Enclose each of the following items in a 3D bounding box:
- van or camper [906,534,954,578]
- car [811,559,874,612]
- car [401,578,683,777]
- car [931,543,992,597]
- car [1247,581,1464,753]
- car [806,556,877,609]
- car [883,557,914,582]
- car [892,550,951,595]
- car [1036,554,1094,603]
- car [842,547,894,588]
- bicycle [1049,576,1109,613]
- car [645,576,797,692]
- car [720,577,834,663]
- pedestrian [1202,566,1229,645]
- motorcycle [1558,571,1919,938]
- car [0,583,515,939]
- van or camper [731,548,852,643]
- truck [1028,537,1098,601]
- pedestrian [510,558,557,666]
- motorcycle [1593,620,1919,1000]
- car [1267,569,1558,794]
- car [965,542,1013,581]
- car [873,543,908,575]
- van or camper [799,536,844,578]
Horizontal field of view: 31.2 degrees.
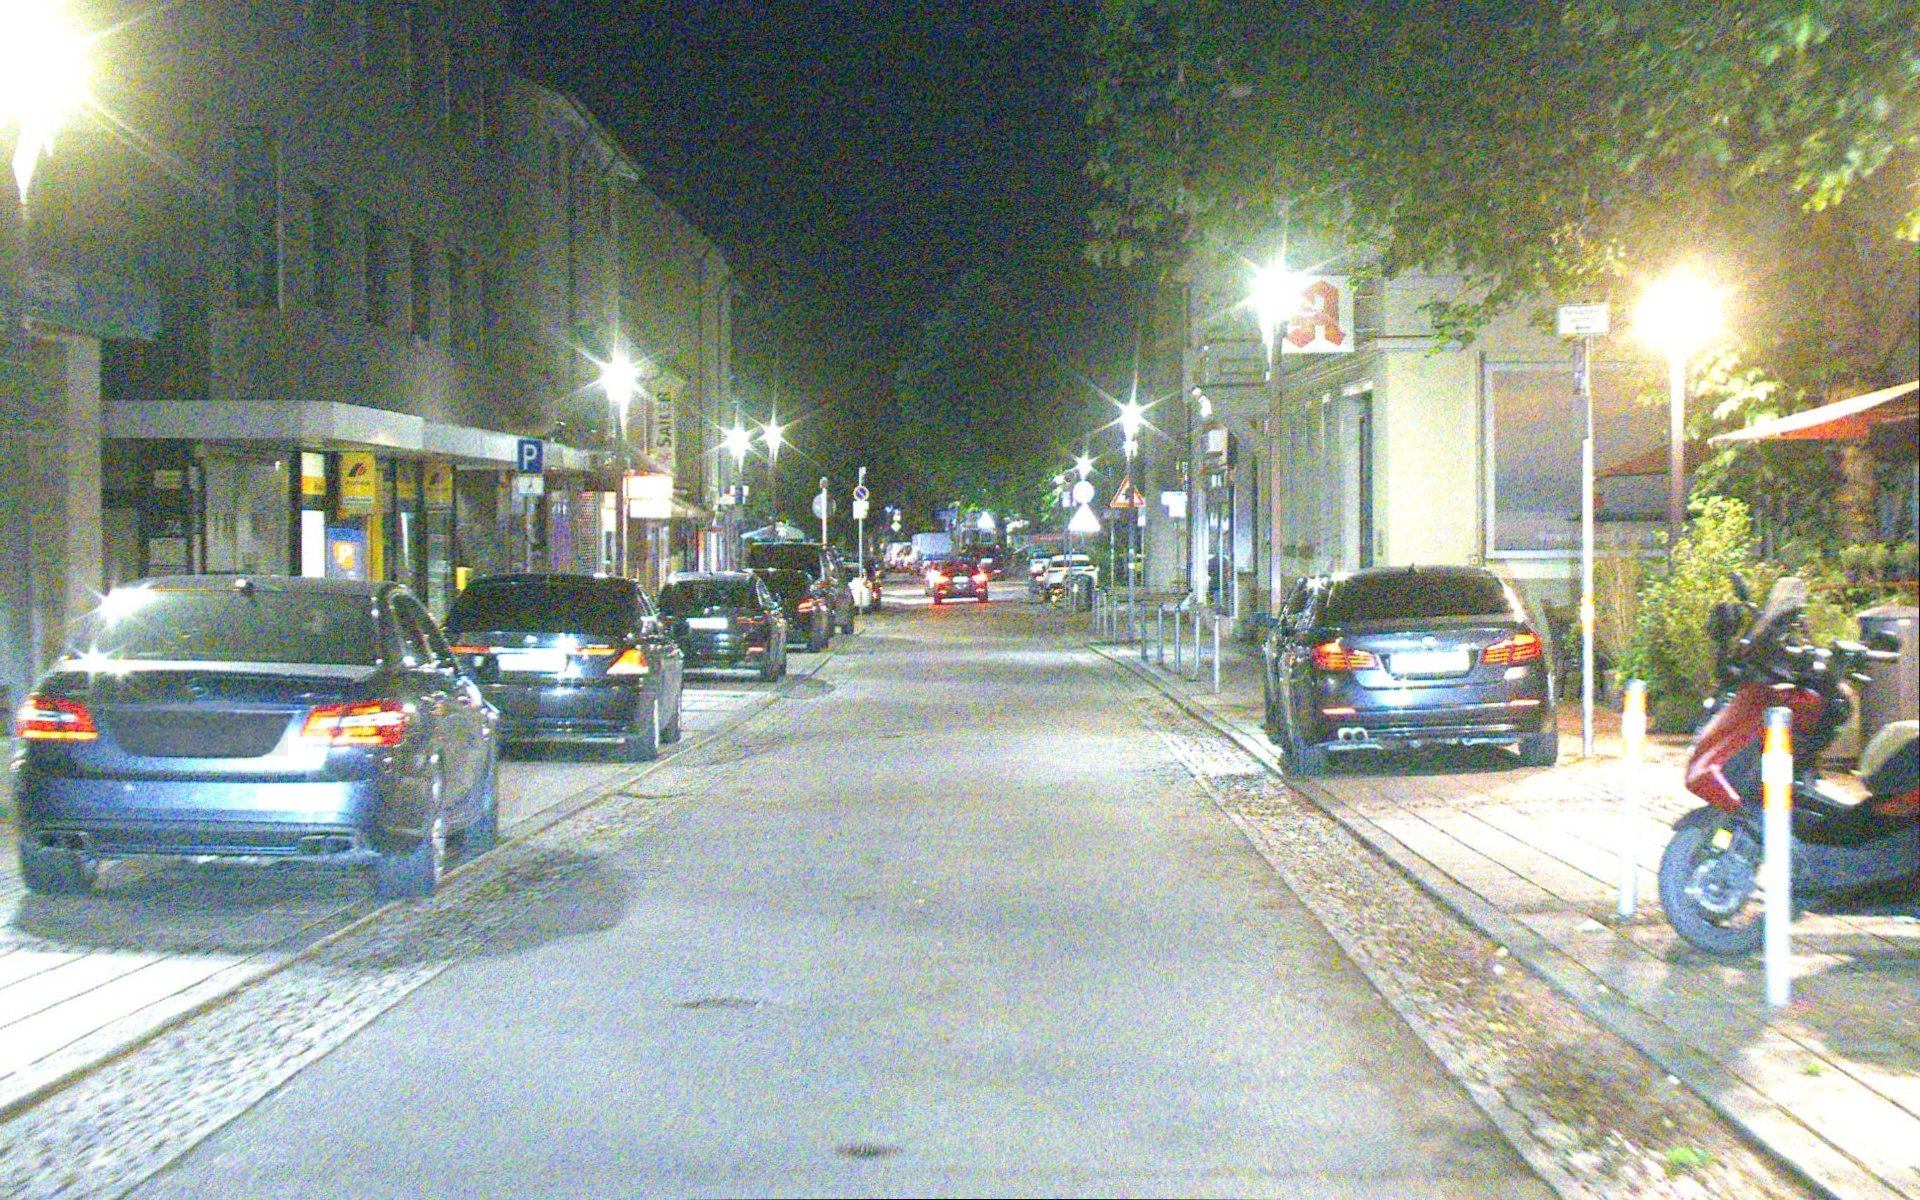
[{"bbox_3d":[-1.658,-2.451,189.779,2.108,2.309,4.263,-2,1,-7],"label":"van or camper"},{"bbox_3d":[-3.382,-0.429,99.238,1.728,1.472,3.847,1,1,-1],"label":"car"},{"bbox_3d":[-3.366,0.572,28.452,1.845,1.459,4.623,1,1,-1],"label":"car"},{"bbox_3d":[0.046,-1.037,117.120,1.993,1.817,4.000,0,1,-1],"label":"car"},{"bbox_3d":[3.505,0.554,31.043,1.661,1.373,4.103,-2,0,3],"label":"car"},{"bbox_3d":[-3.577,-0.556,104.561,2.019,1.483,5.008,2,1,-1],"label":"car"},{"bbox_3d":[-3.638,-1.794,202.769,1.531,1.413,3.846,-1,1,-5],"label":"car"},{"bbox_3d":[-1.522,-1.095,133.894,1.993,1.697,4.001,0,1,-5],"label":"car"},{"bbox_3d":[3.422,-0.709,112.472,1.789,1.486,4.059,-2,1,1],"label":"car"},{"bbox_3d":[-3.557,-1.254,132.702,1.673,1.538,4.231,0,1,-6],"label":"car"},{"bbox_3d":[3.514,-0.175,101.461,1.754,1.058,0.346,-1,1,-2],"label":"bicycle"},{"bbox_3d":[-3.176,0.427,46.411,1.797,1.473,4.321,1,0,-1],"label":"car"},{"bbox_3d":[-3.207,0.325,60.857,1.717,1.408,4.385,1,1,1],"label":"car"},{"bbox_3d":[5.016,0.111,67.507,0.501,1.542,0.480,1,0,6],"label":"pedestrian"},{"bbox_3d":[3.546,0.586,13.431,2.267,1.386,0.660,-1,0,25],"label":"motorcycle"},{"bbox_3d":[-3.311,0.663,16.684,1.899,1.465,4.525,0,1,-2],"label":"car"},{"bbox_3d":[-3.551,-0.128,73.156,1.846,1.935,5.153,1,1,5],"label":"van or camper"},{"bbox_3d":[3.807,-1.189,128.378,2.336,2.304,5.781,-1,1,-1],"label":"truck"},{"bbox_3d":[-6.959,0.193,56.102,0.621,1.739,1.023,0,1,0],"label":"pedestrian"},{"bbox_3d":[3.330,0.722,12.072,2.168,1.293,0.514,-1,0,38],"label":"motorcycle"},{"bbox_3d":[3.266,0.533,25.543,1.753,1.459,4.466,-2,0,3],"label":"car"},{"bbox_3d":[1.371,-1.852,163.840,1.814,1.822,4.348,-1,1,-6],"label":"car"},{"bbox_3d":[-4.228,-2.492,208.691,1.839,1.894,3.846,-1,1,-5],"label":"car"},{"bbox_3d":[-6.911,-2.144,170.756,1.866,2.004,4.263,1,1,-7],"label":"van or camper"}]
